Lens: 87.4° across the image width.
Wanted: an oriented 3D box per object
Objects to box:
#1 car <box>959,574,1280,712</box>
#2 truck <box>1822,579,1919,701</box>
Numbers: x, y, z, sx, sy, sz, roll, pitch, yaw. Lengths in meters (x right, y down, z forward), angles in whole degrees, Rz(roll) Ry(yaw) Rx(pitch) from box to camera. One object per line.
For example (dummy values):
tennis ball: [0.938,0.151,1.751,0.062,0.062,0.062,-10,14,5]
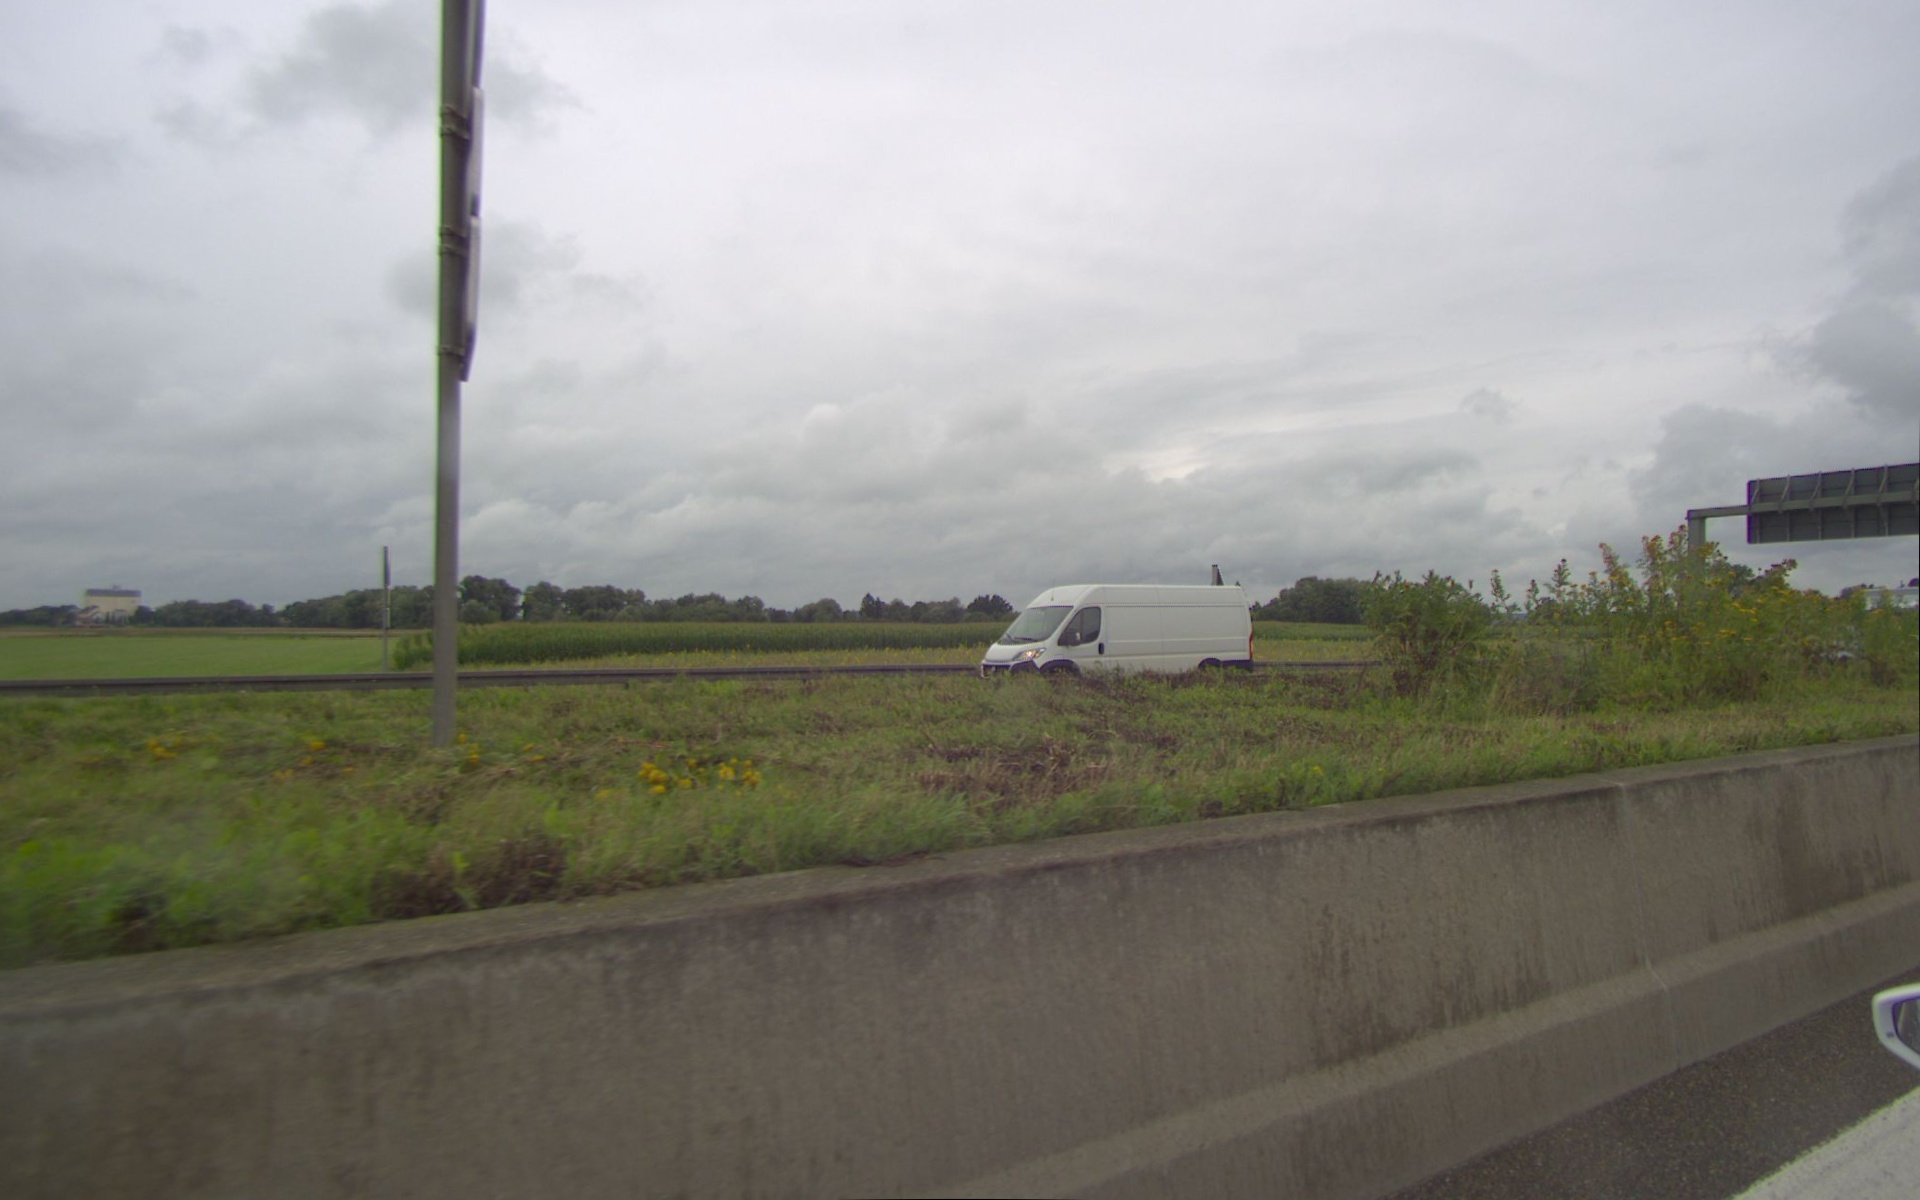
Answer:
car: [3.502,0.874,21.317,6.825,2.563,2.235,2,0,-30]
truck: [40.751,1.652,42.647,9.558,4.711,3.210,2,0,-30]
